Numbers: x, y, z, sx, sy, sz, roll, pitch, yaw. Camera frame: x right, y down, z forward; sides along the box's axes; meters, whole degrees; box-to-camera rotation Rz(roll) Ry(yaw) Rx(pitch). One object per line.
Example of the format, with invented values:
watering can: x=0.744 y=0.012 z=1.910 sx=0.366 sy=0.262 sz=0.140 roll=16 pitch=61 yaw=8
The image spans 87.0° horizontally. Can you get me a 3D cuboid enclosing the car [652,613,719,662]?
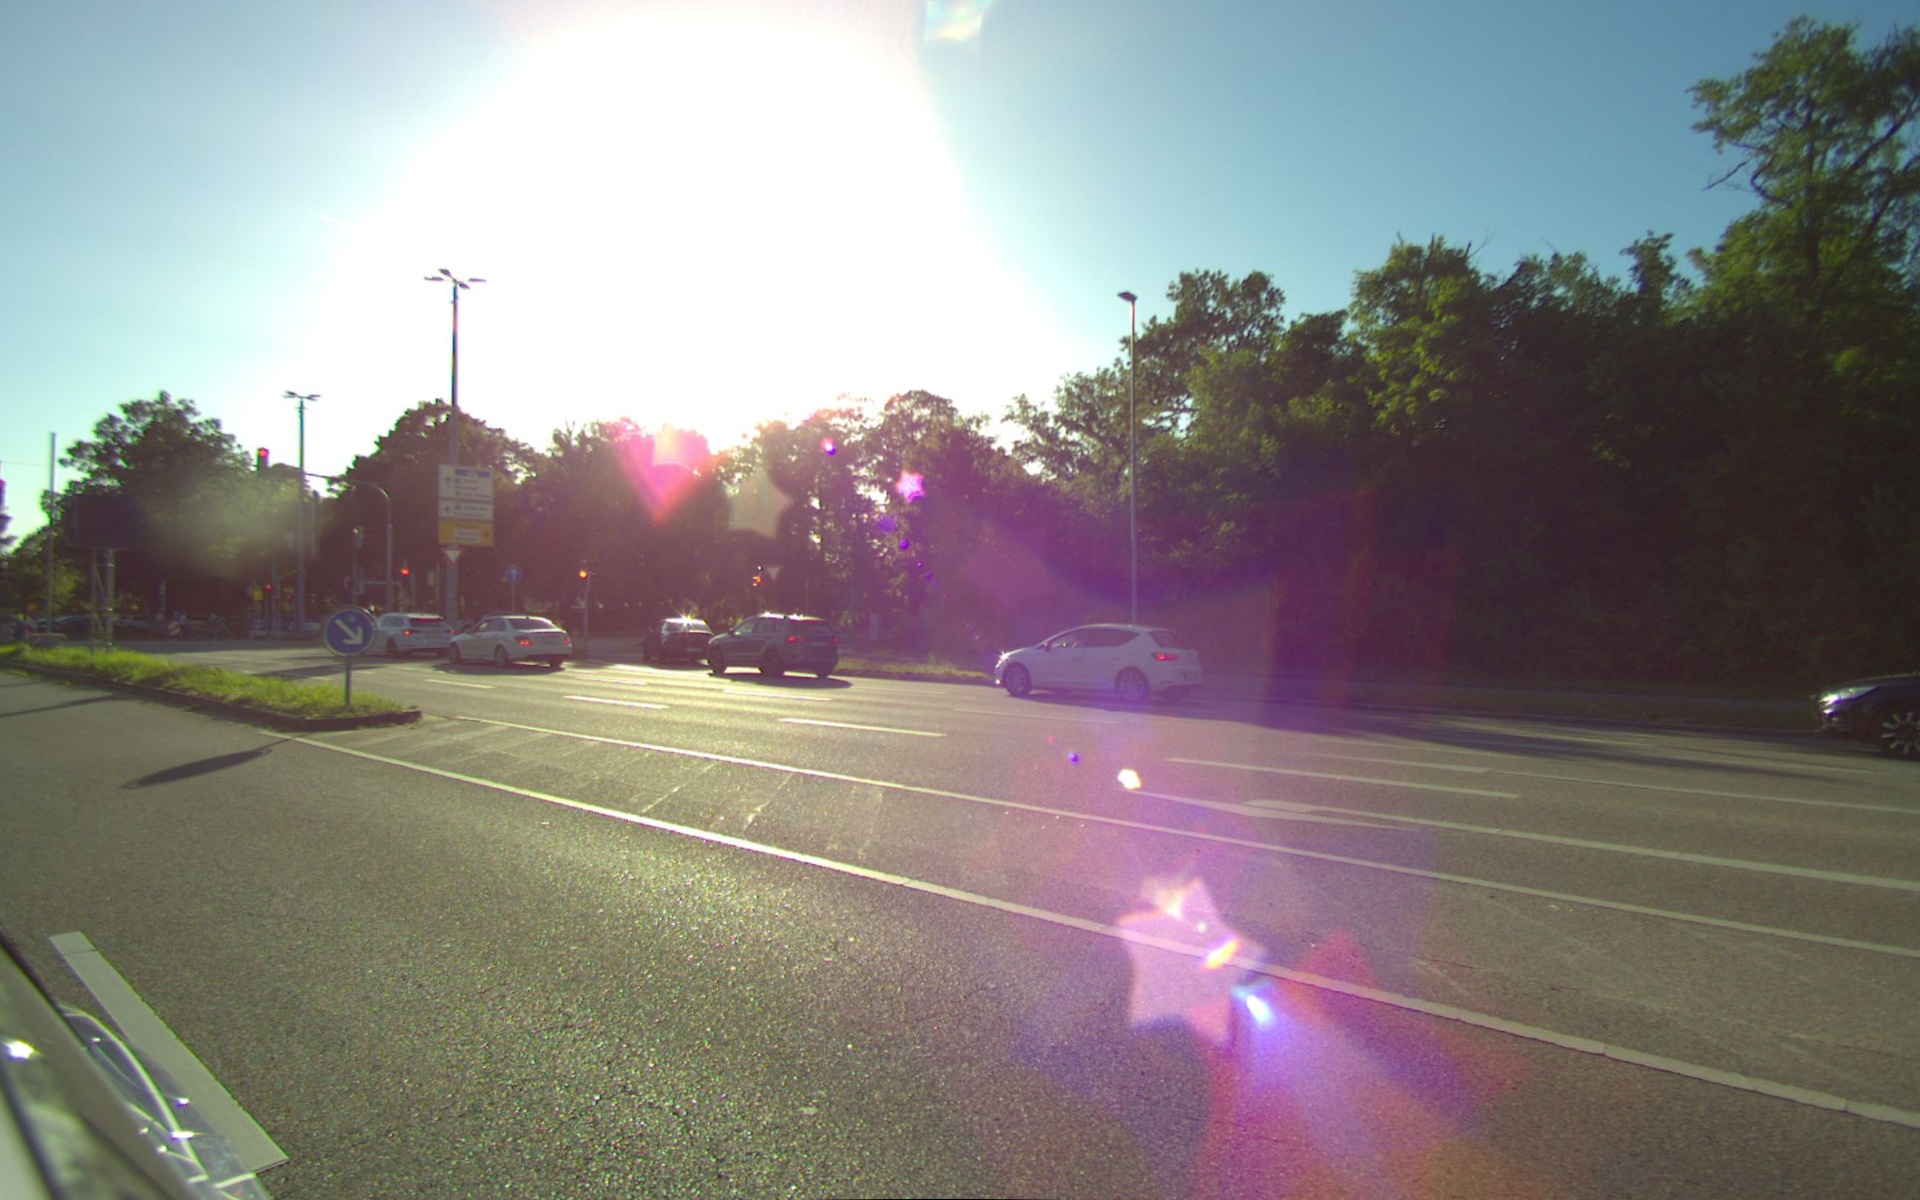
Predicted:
car: x=-9.044 y=1.174 z=33.100 sx=1.966 sy=1.462 sz=4.662 roll=0 pitch=-1 yaw=-17

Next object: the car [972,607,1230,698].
car: x=2.664 y=0.986 z=19.760 sx=4.644 sy=1.576 sz=1.973 roll=-1 pitch=-4 yaw=40

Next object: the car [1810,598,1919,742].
car: x=12.228 y=0.825 z=10.904 sx=4.647 sy=1.576 sz=1.972 roll=-1 pitch=-5 yaw=42

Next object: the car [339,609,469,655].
car: x=-18.646 y=1.040 z=33.871 sx=4.834 sy=1.462 sz=1.975 roll=0 pitch=-2 yaw=37

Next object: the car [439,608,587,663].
car: x=-12.828 y=0.981 z=28.957 sx=4.643 sy=1.462 sz=1.974 roll=-1 pitch=-2 yaw=39

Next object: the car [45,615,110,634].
car: x=-78.928 y=2.207 z=90.550 sx=1.988 sy=1.530 sz=3.967 roll=0 pitch=1 yaw=25

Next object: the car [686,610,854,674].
car: x=-5.139 y=1.096 z=27.057 sx=4.647 sy=1.576 sz=1.972 roll=-1 pitch=-3 yaw=42

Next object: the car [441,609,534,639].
car: x=-27.749 y=1.373 z=59.512 sx=4.665 sy=1.699 sz=2.004 roll=0 pitch=-1 yaw=-37
